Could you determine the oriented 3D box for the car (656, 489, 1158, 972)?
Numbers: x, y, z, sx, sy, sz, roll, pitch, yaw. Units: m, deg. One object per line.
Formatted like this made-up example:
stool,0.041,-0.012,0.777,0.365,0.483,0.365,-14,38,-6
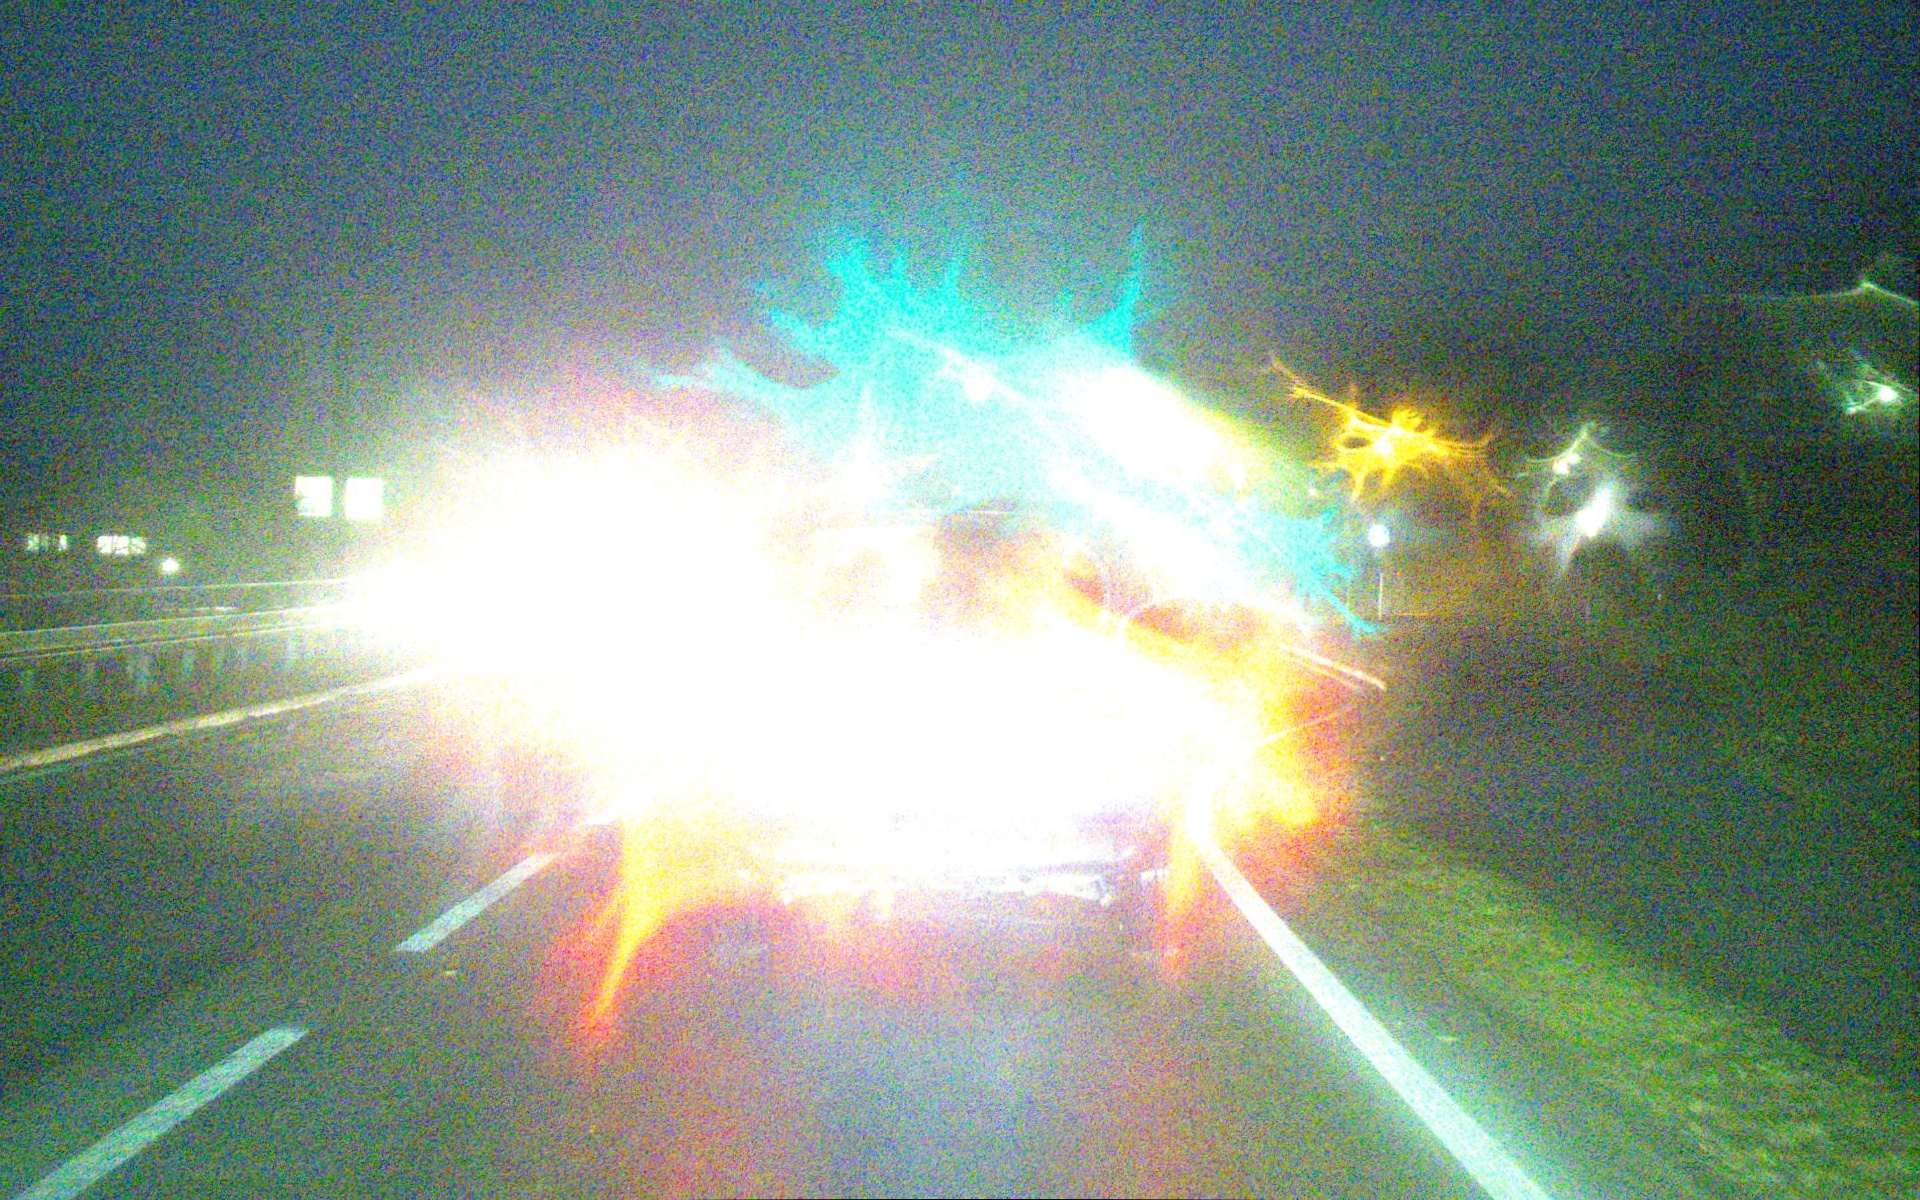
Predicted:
car,-0.193,0.448,14.231,1.775,1.706,4.000,0,0,0
